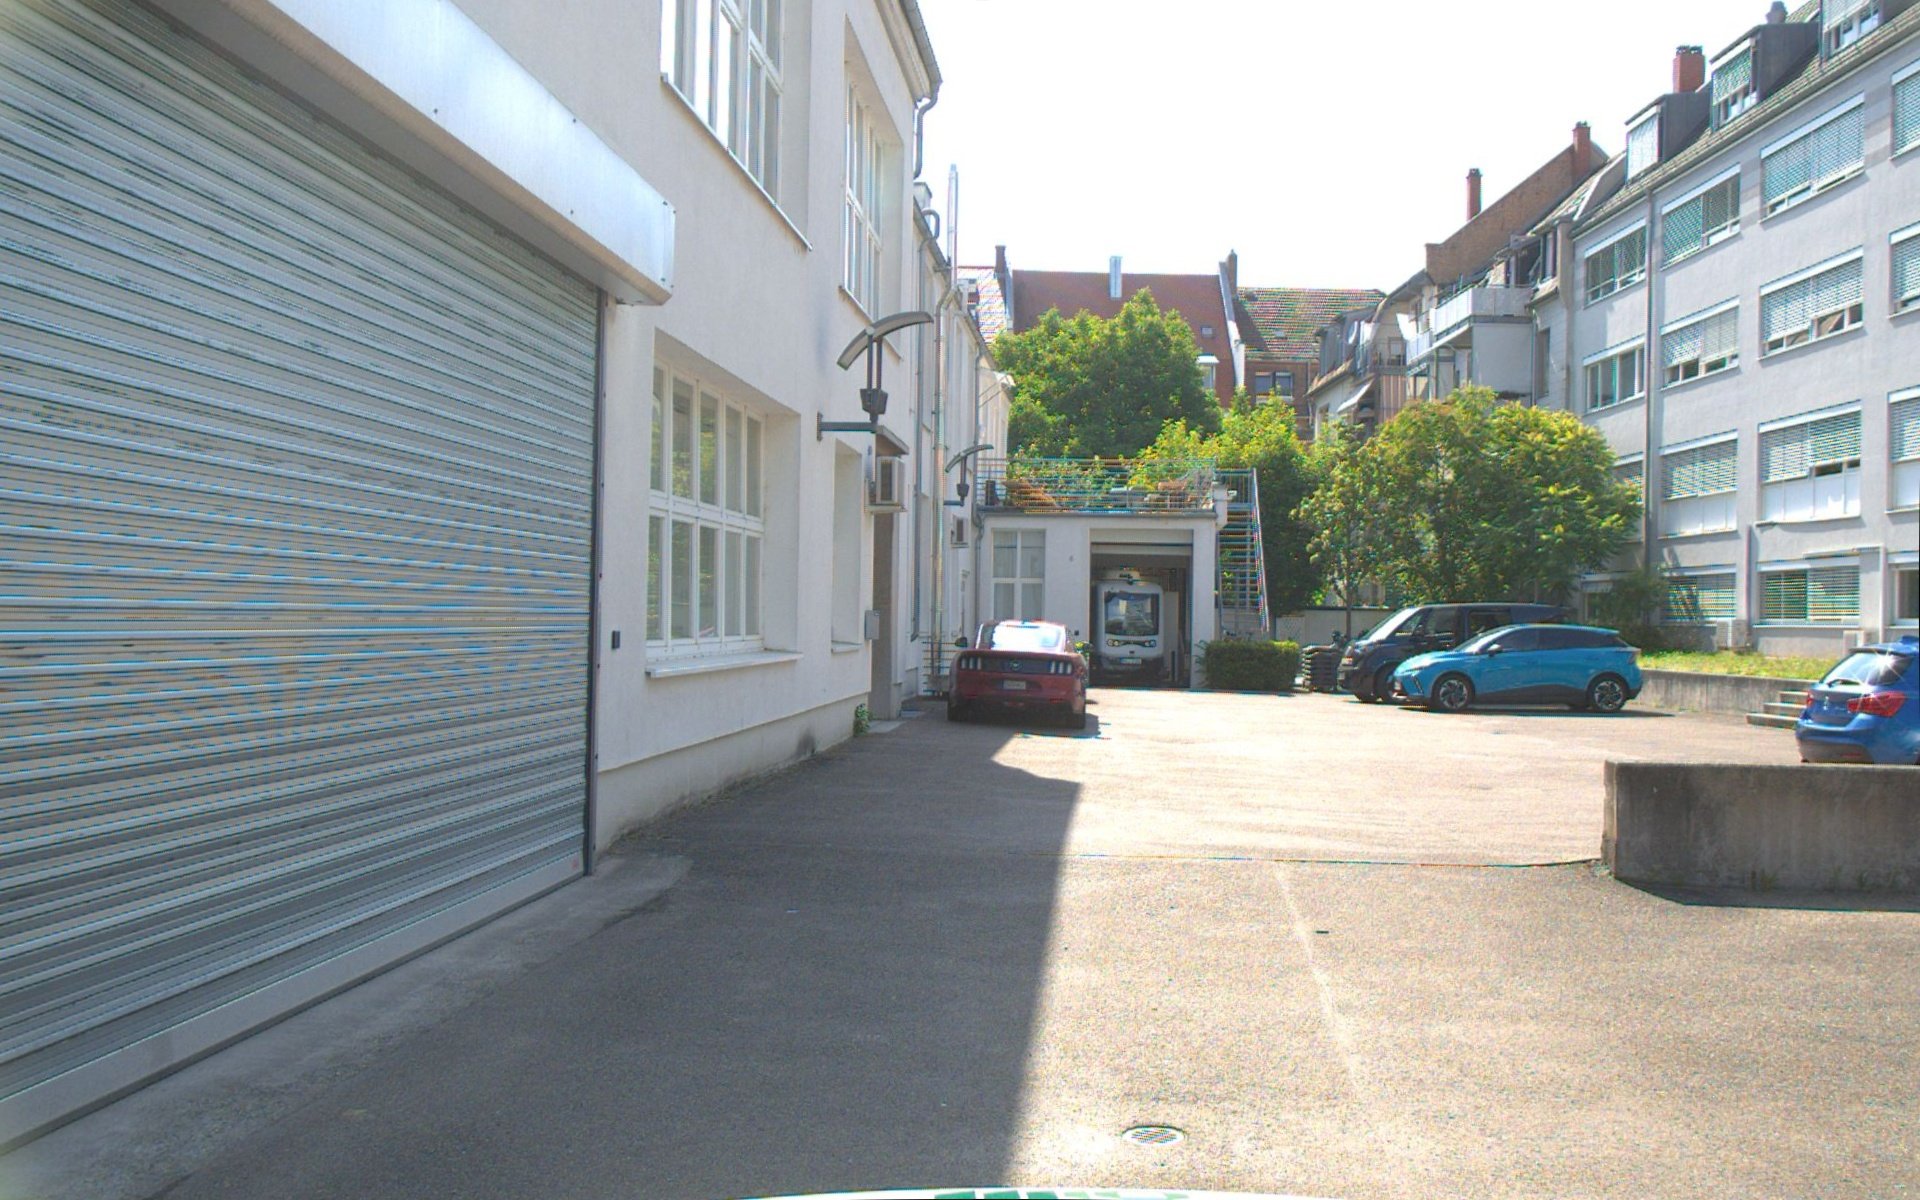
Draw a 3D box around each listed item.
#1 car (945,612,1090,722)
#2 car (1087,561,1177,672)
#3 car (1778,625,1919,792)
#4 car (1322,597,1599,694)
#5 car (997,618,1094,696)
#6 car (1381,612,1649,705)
[{"bbox_3d":[0.898,0.884,23.379,1.813,1.342,4.002,2,0,5],"label":"car"},{"bbox_3d":[4.464,0.469,42.968,2.128,2.653,6.738,0,-1,6],"label":"car"},{"bbox_3d":[9.737,0.940,14.889,3.902,1.418,1.690,0,-1,5],"label":"car"},{"bbox_3d":[9.865,0.862,32.811,4.857,1.798,2.093,0,0,-7],"label":"car"},{"bbox_3d":[1.607,0.992,30.152,1.580,1.318,3.761,0,0,6],"label":"car"},{"bbox_3d":[9.832,1.014,29.542,4.141,1.559,2.001,0,0,2],"label":"car"}]
